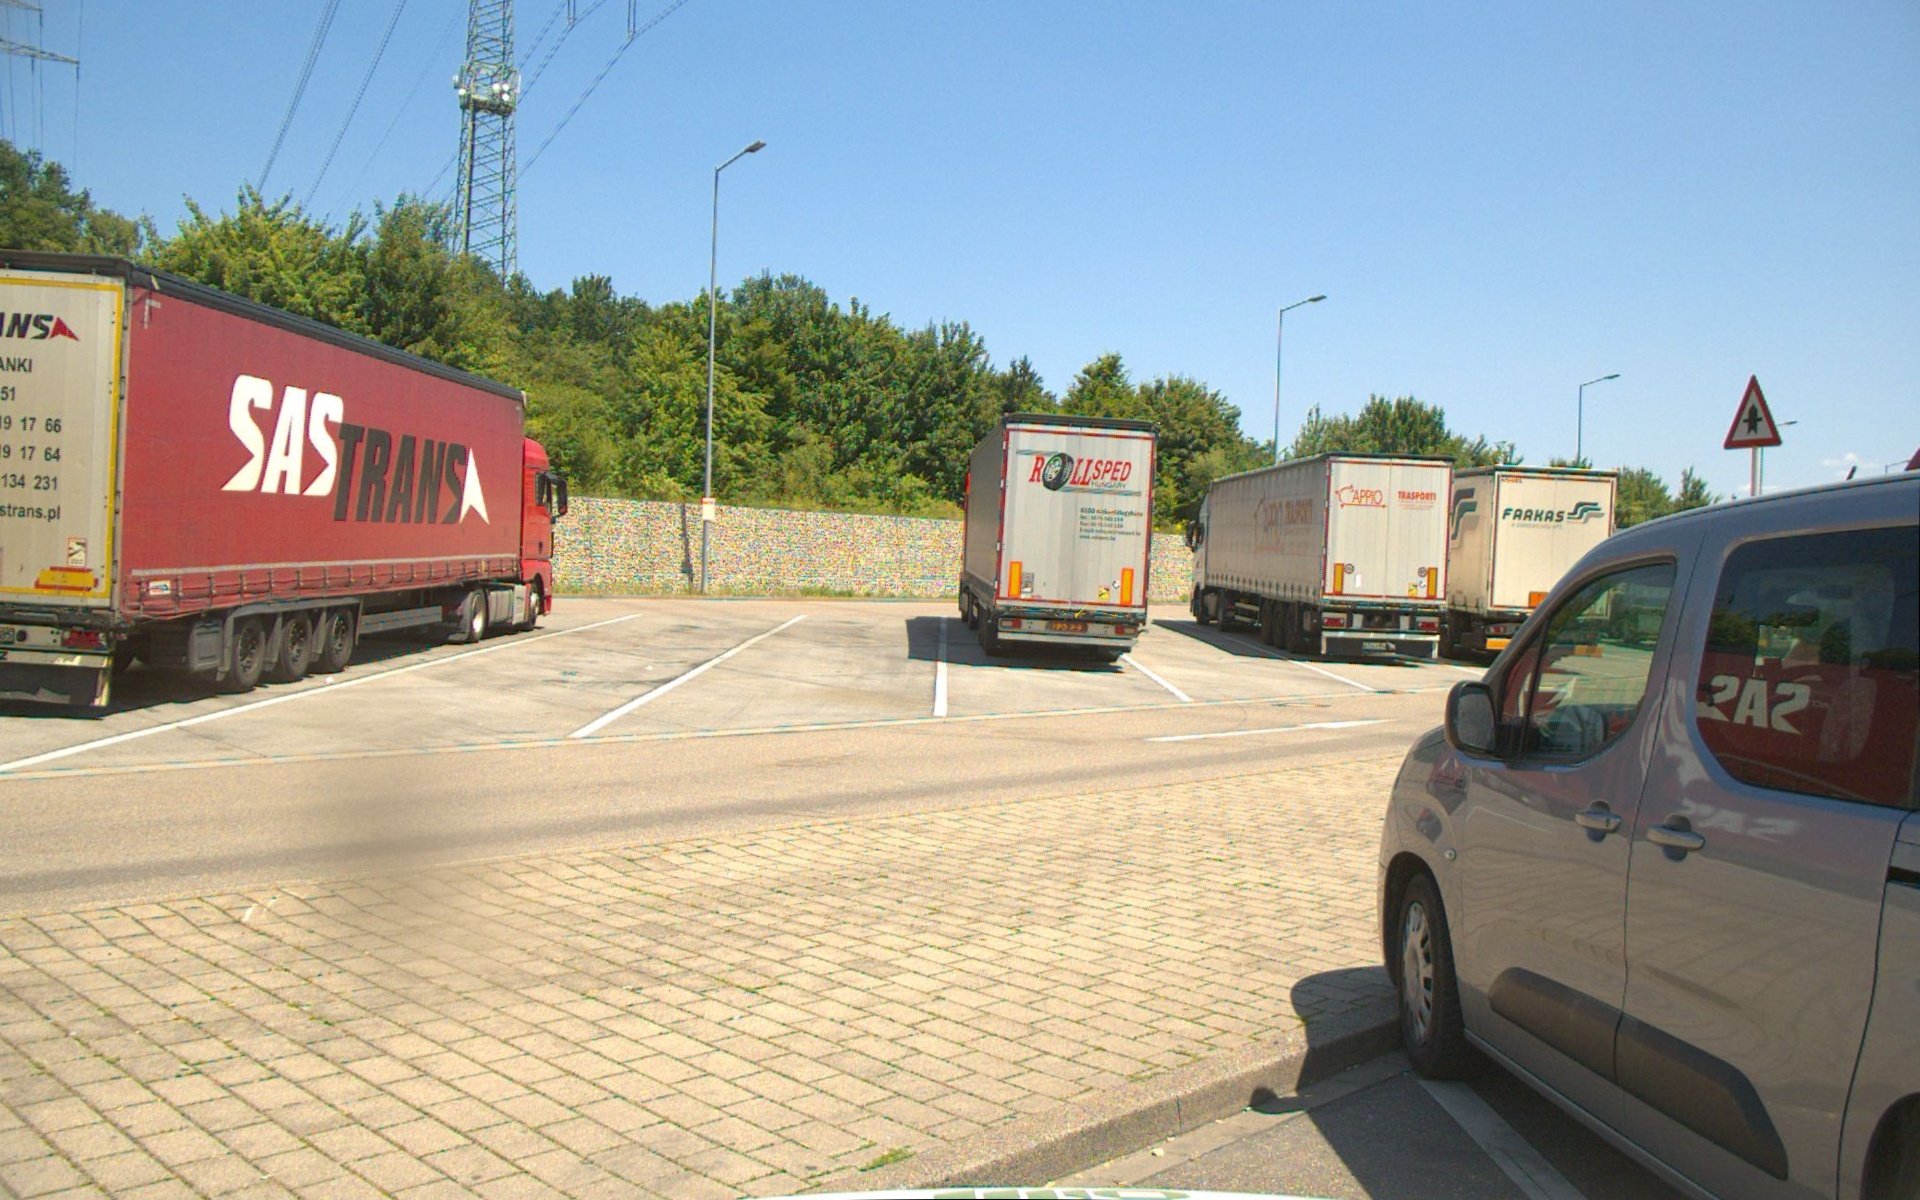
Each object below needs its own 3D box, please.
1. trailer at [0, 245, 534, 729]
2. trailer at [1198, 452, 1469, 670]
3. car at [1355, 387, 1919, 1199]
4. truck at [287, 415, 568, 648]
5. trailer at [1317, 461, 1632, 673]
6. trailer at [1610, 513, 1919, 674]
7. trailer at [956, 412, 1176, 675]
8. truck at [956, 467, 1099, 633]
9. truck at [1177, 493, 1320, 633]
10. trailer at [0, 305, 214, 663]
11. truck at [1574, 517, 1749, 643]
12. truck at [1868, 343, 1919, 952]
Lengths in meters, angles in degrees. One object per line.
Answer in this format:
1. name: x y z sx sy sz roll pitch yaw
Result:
1. trailer: -8.712 -1.293 21.443 2.735 4.155 14.131 3 2 -1
2. trailer: 8.187 -1.032 38.856 2.754 4.058 14.395 3 2 -1
3. car: 2.451 0.602 3.862 1.832 1.896 4.174 3 1 -2
4. truck: -8.776 -1.154 28.014 2.793 3.385 5.900 3 2 -1
5. trailer: 11.750 -0.937 39.961 2.754 4.058 14.395 3 2 -1
6. trailer: 21.860 -0.392 44.510 2.754 3.568 14.395 3 2 -1
7. trailer: 1.674 -1.196 33.648 3.070 4.058 14.393 3 2 -1
8. truck: 1.518 -1.242 40.539 3.041 3.628 5.900 3 2 -1
9. truck: 8.070 -1.095 46.956 2.804 3.582 5.900 3 2 -1
10. trailer: -12.539 -1.339 17.721 2.739 4.155 14.131 3 2 -1
11. truck: 21.784 -0.697 51.740 2.746 3.582 5.900 3 2 -1
12. truck: 5.013 0.199 4.985 1.937 2.668 5.307 1 0 4
